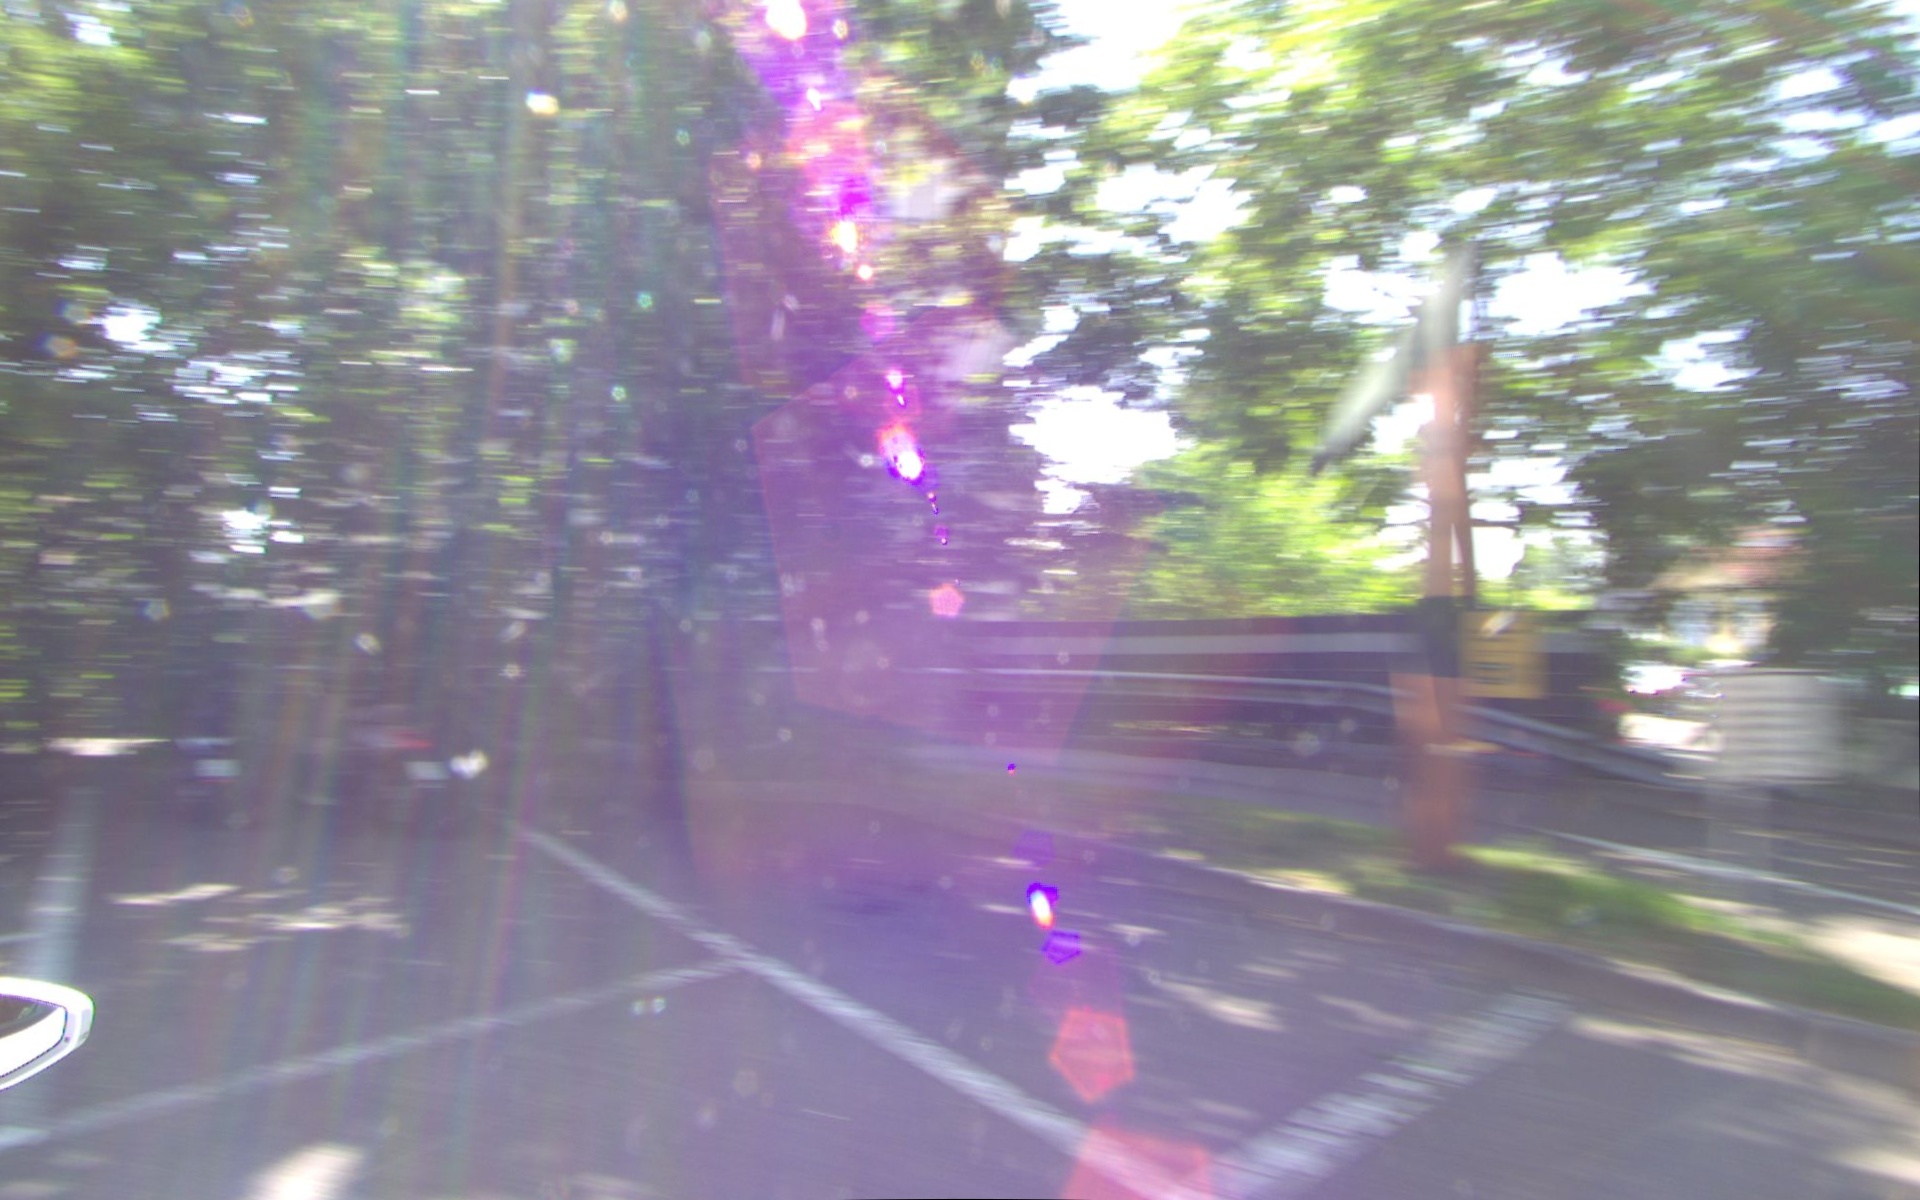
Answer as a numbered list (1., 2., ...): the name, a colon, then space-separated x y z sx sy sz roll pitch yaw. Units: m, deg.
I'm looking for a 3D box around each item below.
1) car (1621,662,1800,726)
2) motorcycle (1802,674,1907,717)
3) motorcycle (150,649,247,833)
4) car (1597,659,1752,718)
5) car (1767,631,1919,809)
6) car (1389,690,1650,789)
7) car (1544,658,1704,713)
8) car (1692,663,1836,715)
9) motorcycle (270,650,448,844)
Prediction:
1. car: 22.548 2.811 30.197 3.922 1.727 2.001 2 -2 -1
2. motorcycle: 28.236 2.998 31.631 2.667 1.242 0.999 2 -2 -9
3. motorcycle: -5.578 0.957 7.308 0.469 1.155 1.592 1 -1 -40
4. car: 23.705 2.927 33.297 3.925 1.747 2.000 2 -2 -8
5. car: 9.539 1.088 8.536 1.921 1.603 5.031 1 -2 10
6. car: 8.873 2.196 16.059 3.348 1.397 1.486 0 0 1
7. car: 23.552 3.018 35.619 4.566 1.747 2.000 2 -2 -8
8. car: 28.403 3.094 35.555 1.961 1.605 4.002 2 -2 1
9. motorcycle: -4.219 0.955 6.989 1.586 1.184 0.566 -1 -1 39
